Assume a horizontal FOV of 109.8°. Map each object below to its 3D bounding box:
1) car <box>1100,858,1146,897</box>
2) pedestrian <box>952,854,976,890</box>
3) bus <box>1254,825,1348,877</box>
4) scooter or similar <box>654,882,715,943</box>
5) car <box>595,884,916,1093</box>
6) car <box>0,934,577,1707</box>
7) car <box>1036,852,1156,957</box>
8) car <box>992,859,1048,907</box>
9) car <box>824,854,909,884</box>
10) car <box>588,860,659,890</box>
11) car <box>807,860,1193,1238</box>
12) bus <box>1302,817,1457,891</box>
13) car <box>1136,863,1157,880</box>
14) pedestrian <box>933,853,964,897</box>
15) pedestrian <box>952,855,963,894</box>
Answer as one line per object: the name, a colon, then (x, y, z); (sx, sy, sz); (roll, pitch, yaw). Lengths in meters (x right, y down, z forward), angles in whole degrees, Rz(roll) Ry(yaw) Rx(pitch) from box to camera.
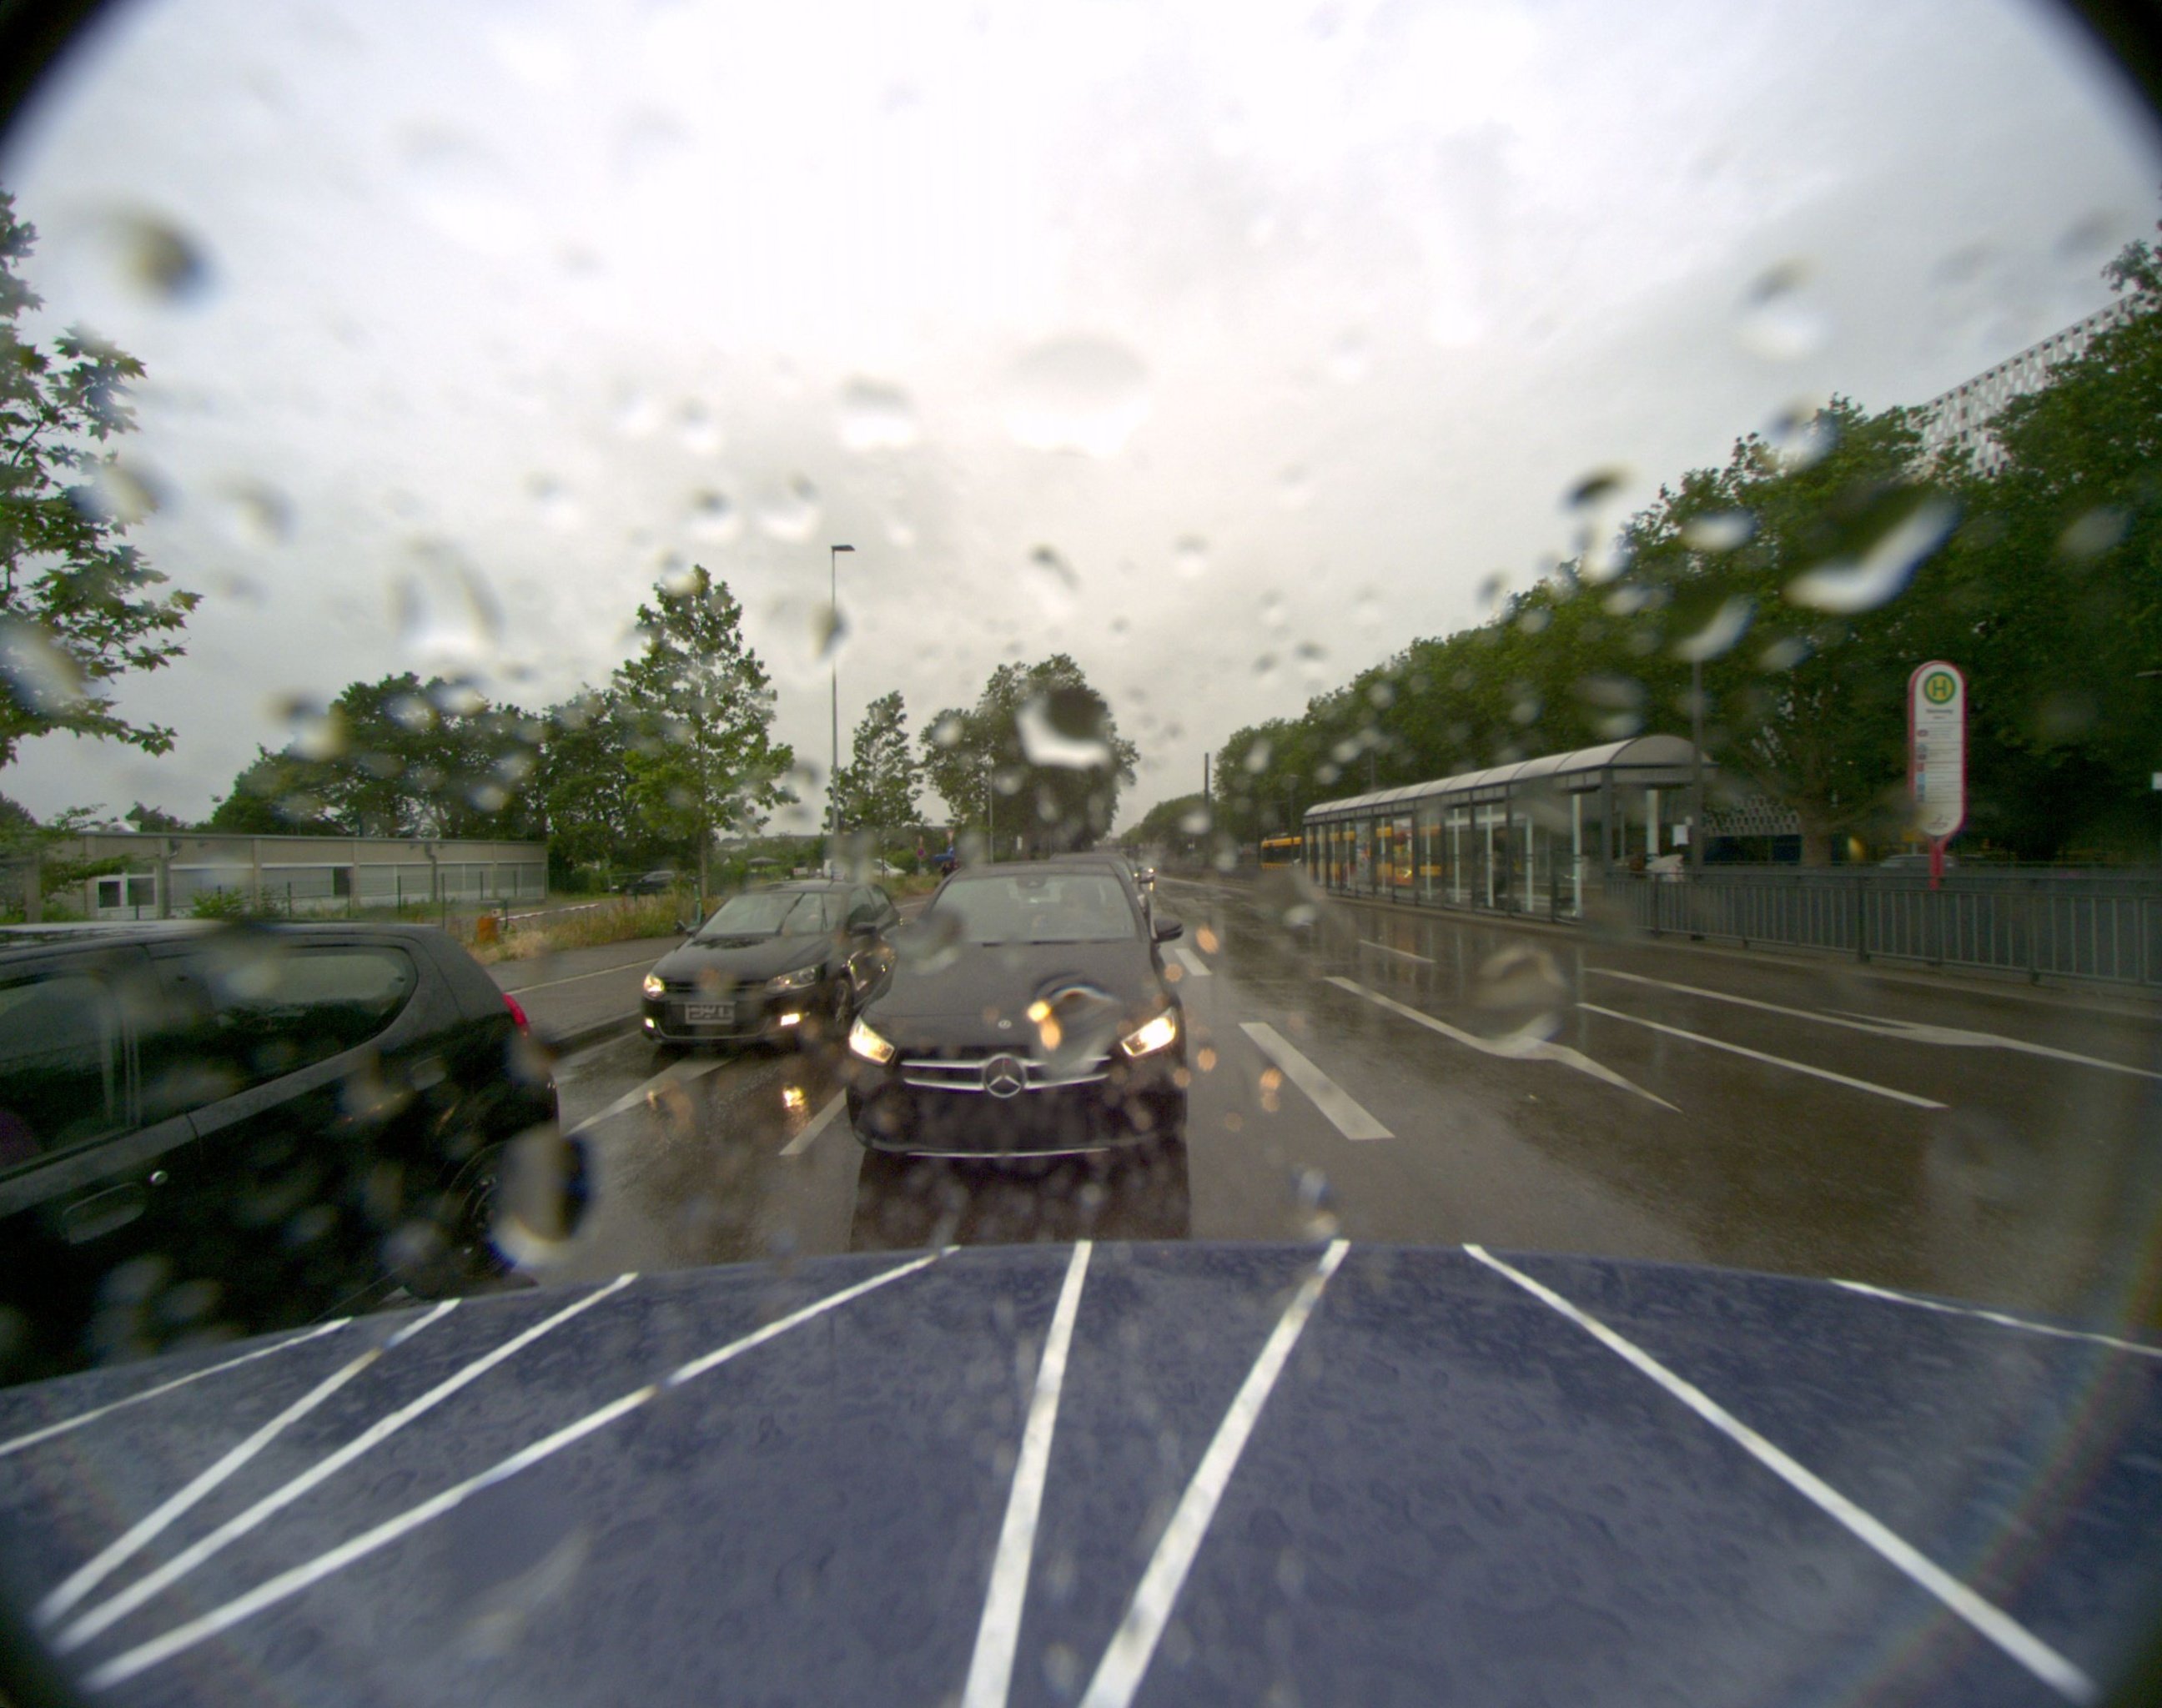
car: (1.884, 1.033, 35.115); (1.794, 1.597, 3.999); (-2, 1, 0)
pedestrian: (-5.583, 0.842, 36.265); (1.025, 1.698, 0.891); (1, 1, 0)
bus: (16.339, -0.283, 58.041); (2.938, 3.310, 15.062); (-2, 1, 1)
scooter or similar: (-8.216, 1.178, 15.816); (0.381, 1.123, 1.777); (0, 1, -1)
car: (-2.894, 1.106, 7.657); (1.633, 1.420, 3.624); (-2, 0, 0)
car: (-3.005, 1.075, 1.446); (1.633, 1.420, 3.624); (-2, 0, 0)
car: (0.198, 0.717, 12.487); (1.633, 1.420, 3.624); (-2, 0, 0)
car: (-2.216, 1.034, 28.537); (1.698, 1.565, 3.813); (-2, 1, 1)
car: (-13.526, 0.934, 48.101); (4.759, 1.640, 1.999); (-2, 1, -2)
car: (-33.971, 1.511, 56.526); (3.996, 2.002, 2.000); (-2, 1, 2)
car: (-0.338, 0.906, 5.524); (1.690, 1.578, 4.163); (-2, 1, 1)
bus: (16.074, -0.077, 42.882); (2.938, 3.310, 15.062); (-2, 1, 1)
car: (6.104, 1.633, 71.401); (1.766, 1.390, 4.645); (-2, 0, 2)
pedestrian: (-5.370, 0.844, 30.863); (1.082, 1.746, 0.969); (0, 1, 0)
pedestrian: (-5.353, 0.880, 32.951); (0.401, 1.652, 0.441); (1, 1, 0)
